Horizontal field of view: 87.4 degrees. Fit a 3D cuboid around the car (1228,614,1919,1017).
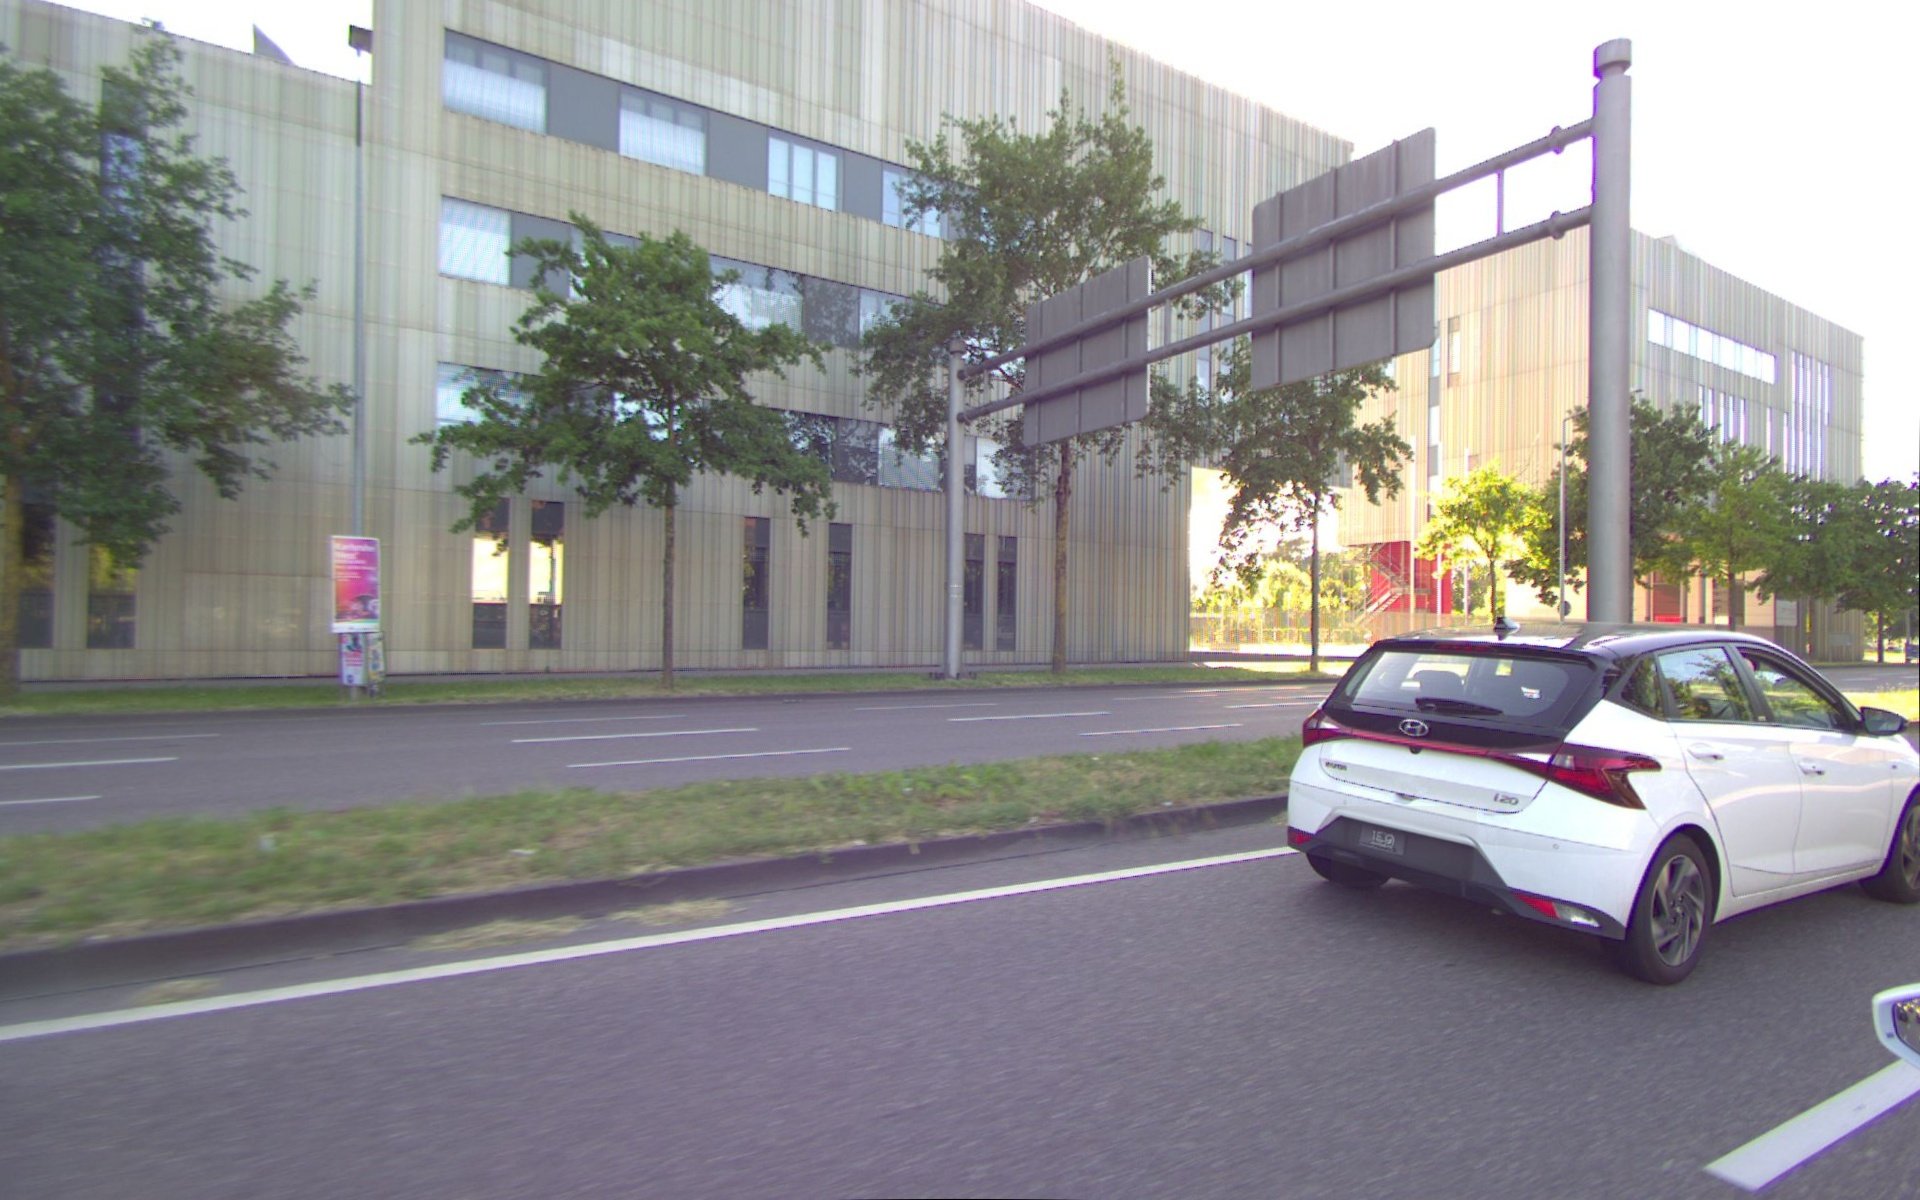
[{"bbox_3d":[3.561,0.831,5.412,4.026,1.427,1.770,1,0,-30],"label":"car"}]
